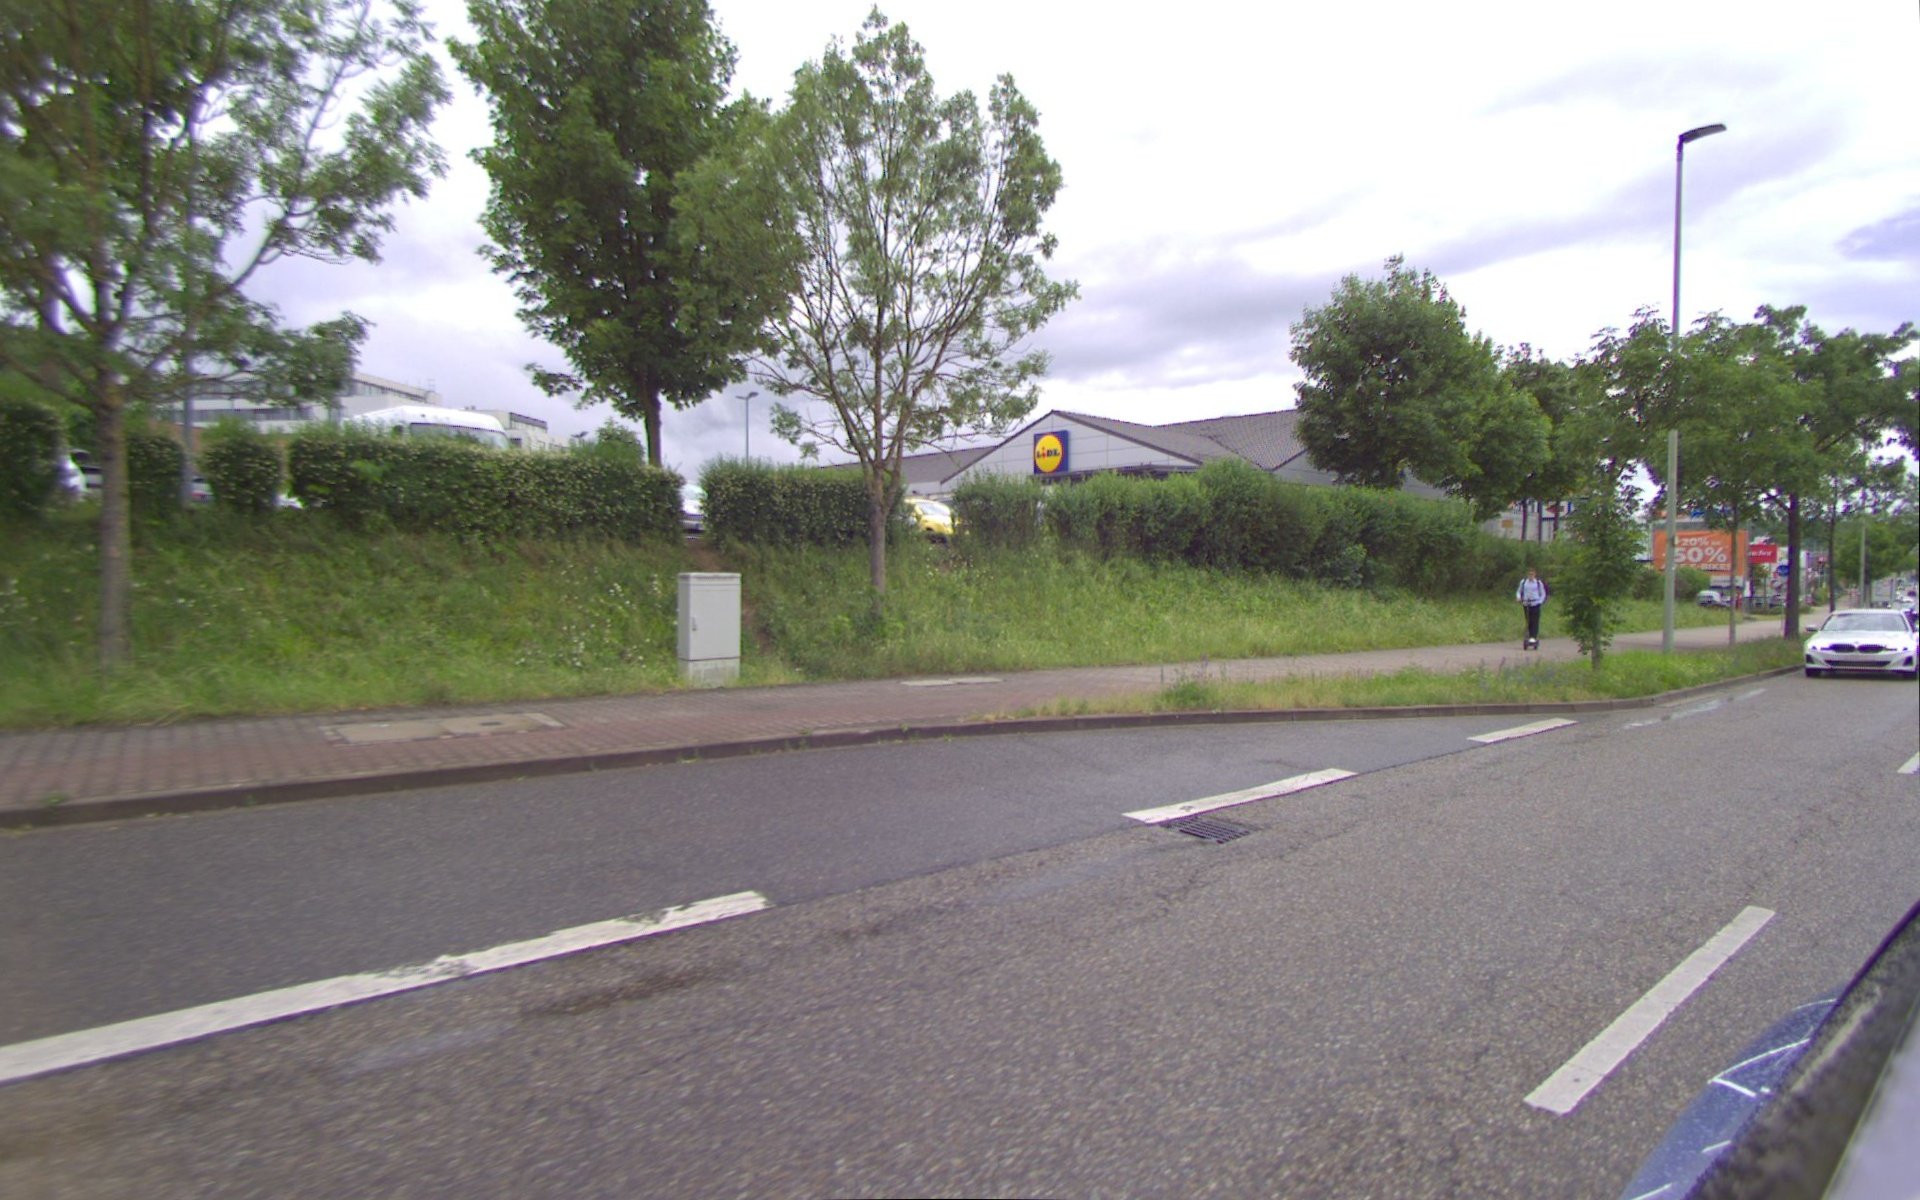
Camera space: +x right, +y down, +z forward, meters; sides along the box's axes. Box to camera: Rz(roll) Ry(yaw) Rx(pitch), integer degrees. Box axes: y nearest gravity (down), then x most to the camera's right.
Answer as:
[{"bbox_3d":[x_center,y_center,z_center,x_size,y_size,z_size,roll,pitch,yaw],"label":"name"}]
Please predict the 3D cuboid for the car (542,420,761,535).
[{"bbox_3d":[-6.979,-2.663,22.447,5.609,2.167,2.089,6,5,43],"label":"car"}]

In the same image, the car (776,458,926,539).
[{"bbox_3d":[-2.762,-2.488,24.985,1.830,1.756,4.001,0,4,-37],"label":"car"}]

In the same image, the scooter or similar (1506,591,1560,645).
[{"bbox_3d":[14.280,0.425,25.218,1.376,1.279,0.696,-1,3,-41],"label":"scooter or similar"}]

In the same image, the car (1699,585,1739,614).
[{"bbox_3d":[70.589,-0.011,94.068,2.227,2.569,5.589,-1,-1,44],"label":"car"}]

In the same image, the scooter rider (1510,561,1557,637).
[{"bbox_3d":[14.269,-0.044,25.177,0.843,1.842,0.696,0,3,-41],"label":"scooter rider"}]

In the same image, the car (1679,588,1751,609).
[{"bbox_3d":[55.877,-0.115,75.011,4.071,1.457,1.777,2,-1,31],"label":"car"}]

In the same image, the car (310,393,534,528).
[{"bbox_3d":[-10.541,-2.607,19.590,5.609,2.167,2.089,6,5,43],"label":"car"}]

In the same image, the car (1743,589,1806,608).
[{"bbox_3d":[84.440,-0.156,105.001,1.890,1.620,4.672,1,4,-37],"label":"car"}]

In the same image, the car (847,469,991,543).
[{"bbox_3d":[-1.182,-2.505,27.007,1.830,1.756,4.001,0,4,-37],"label":"car"}]

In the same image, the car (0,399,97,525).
[{"bbox_3d":[-14.402,-2.045,15.151,4.351,1.648,1.897,6,5,44],"label":"car"}]

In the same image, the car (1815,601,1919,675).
[{"bbox_3d":[20.137,0.767,22.120,4.467,1.459,1.804,0,-1,-44],"label":"car"}]
